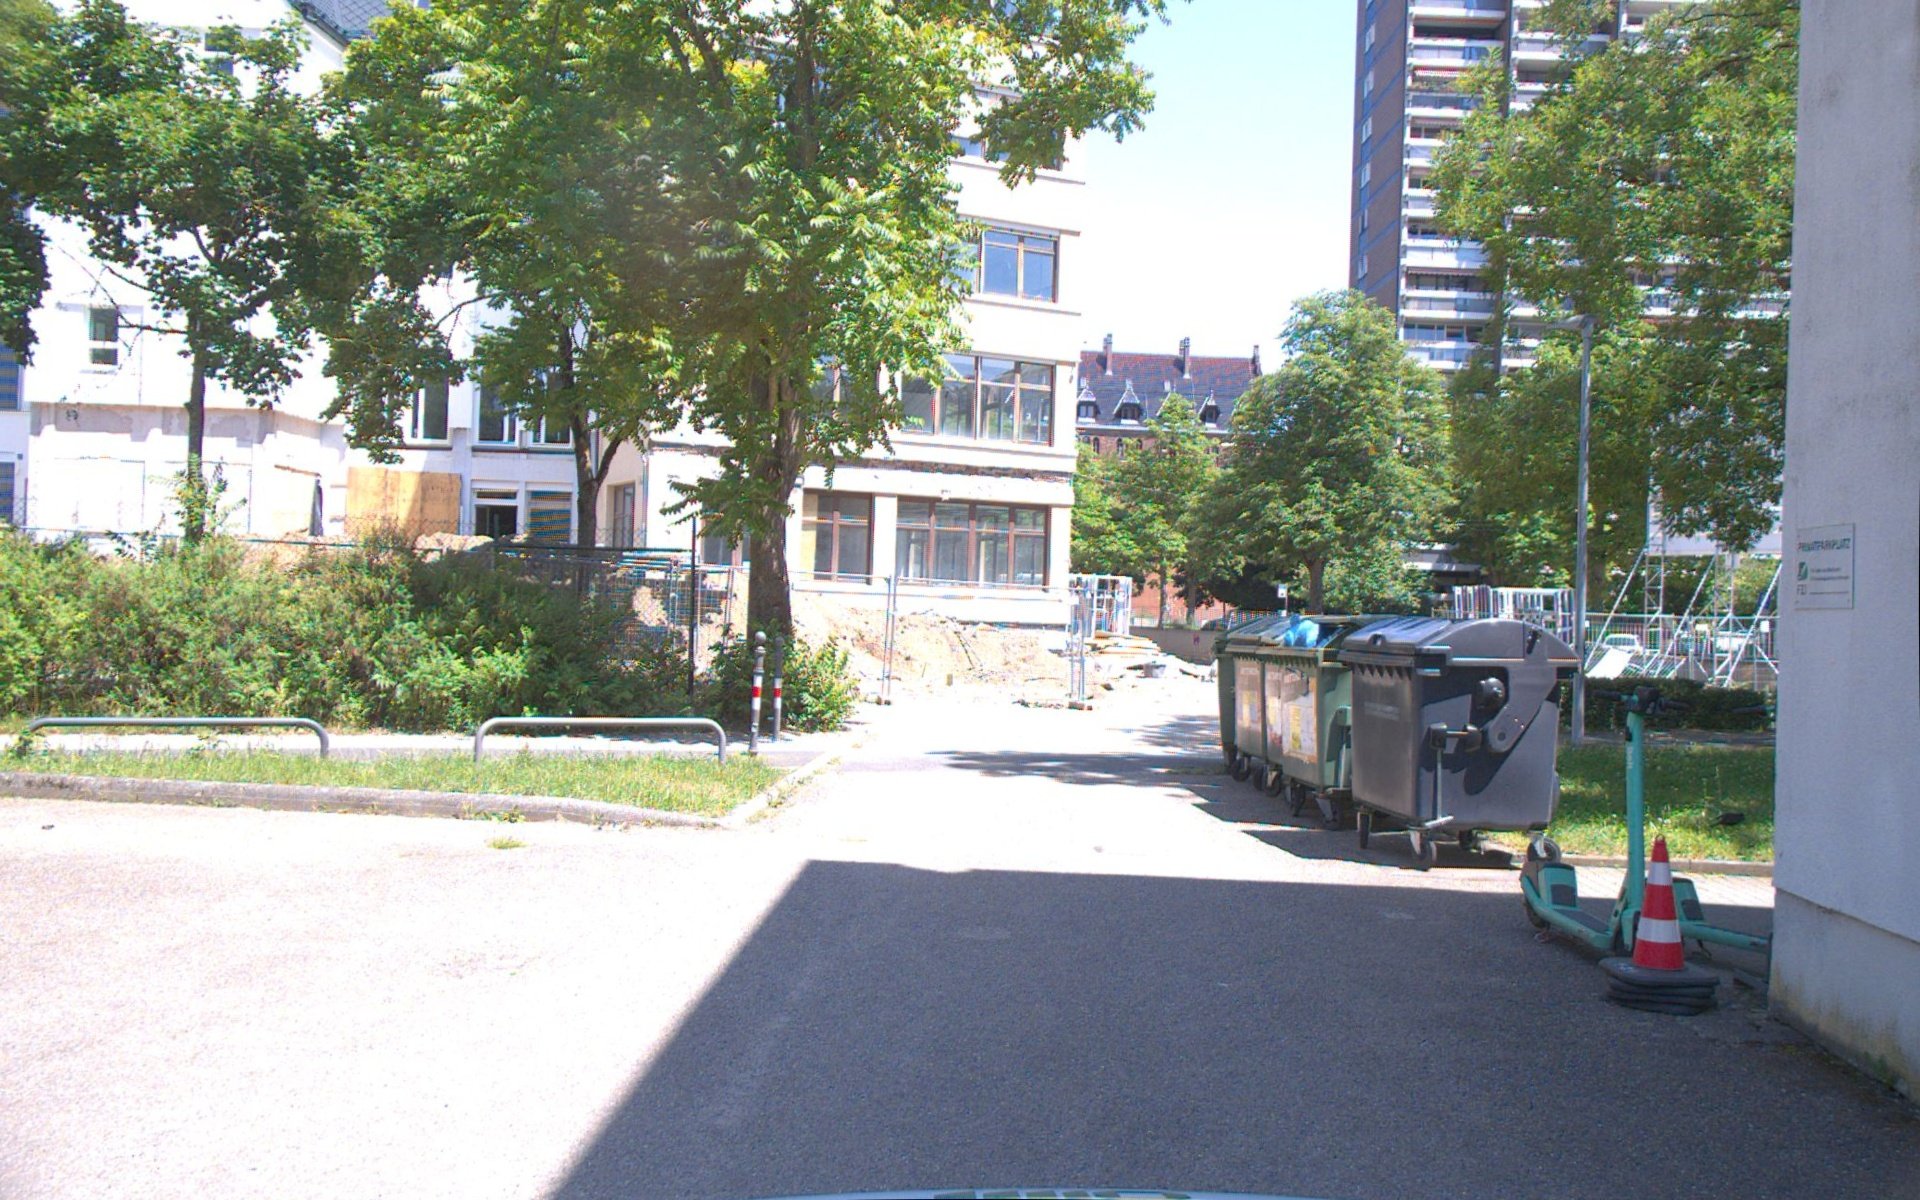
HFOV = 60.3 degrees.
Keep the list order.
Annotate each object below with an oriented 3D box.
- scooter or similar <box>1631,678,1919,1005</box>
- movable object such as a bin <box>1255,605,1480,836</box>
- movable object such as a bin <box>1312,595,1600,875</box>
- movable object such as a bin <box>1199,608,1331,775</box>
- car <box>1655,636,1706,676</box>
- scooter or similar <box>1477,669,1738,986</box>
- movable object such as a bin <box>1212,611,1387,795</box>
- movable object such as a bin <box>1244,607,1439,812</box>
[{"bbox_3d":[3.475,0.966,7.034,0.456,1.194,1.251,2,0,-15],"label":"scooter or similar"},{"bbox_3d":[2.860,0.820,11.775,1.156,1.495,1.310,3,-1,-5],"label":"movable object such as a bin"},{"bbox_3d":[2.958,0.772,10.038,1.133,1.531,1.460,3,-1,-7],"label":"movable object such as a bin"},{"bbox_3d":[2.995,0.868,16.139,1.154,1.495,1.334,2,-1,13],"label":"movable object such as a bin"},{"bbox_3d":[27.627,2.131,63.453,1.600,1.411,3.677,2,0,21],"label":"car"},{"bbox_3d":[2.794,0.936,7.266,0.455,1.194,1.355,2,0,-7],"label":"scooter or similar"},{"bbox_3d":[2.967,0.878,14.599,1.155,1.495,1.310,3,-1,-4],"label":"movable object such as a bin"},{"bbox_3d":[3.000,0.837,13.157,1.155,1.495,1.311,3,-1,-2],"label":"movable object such as a bin"}]
